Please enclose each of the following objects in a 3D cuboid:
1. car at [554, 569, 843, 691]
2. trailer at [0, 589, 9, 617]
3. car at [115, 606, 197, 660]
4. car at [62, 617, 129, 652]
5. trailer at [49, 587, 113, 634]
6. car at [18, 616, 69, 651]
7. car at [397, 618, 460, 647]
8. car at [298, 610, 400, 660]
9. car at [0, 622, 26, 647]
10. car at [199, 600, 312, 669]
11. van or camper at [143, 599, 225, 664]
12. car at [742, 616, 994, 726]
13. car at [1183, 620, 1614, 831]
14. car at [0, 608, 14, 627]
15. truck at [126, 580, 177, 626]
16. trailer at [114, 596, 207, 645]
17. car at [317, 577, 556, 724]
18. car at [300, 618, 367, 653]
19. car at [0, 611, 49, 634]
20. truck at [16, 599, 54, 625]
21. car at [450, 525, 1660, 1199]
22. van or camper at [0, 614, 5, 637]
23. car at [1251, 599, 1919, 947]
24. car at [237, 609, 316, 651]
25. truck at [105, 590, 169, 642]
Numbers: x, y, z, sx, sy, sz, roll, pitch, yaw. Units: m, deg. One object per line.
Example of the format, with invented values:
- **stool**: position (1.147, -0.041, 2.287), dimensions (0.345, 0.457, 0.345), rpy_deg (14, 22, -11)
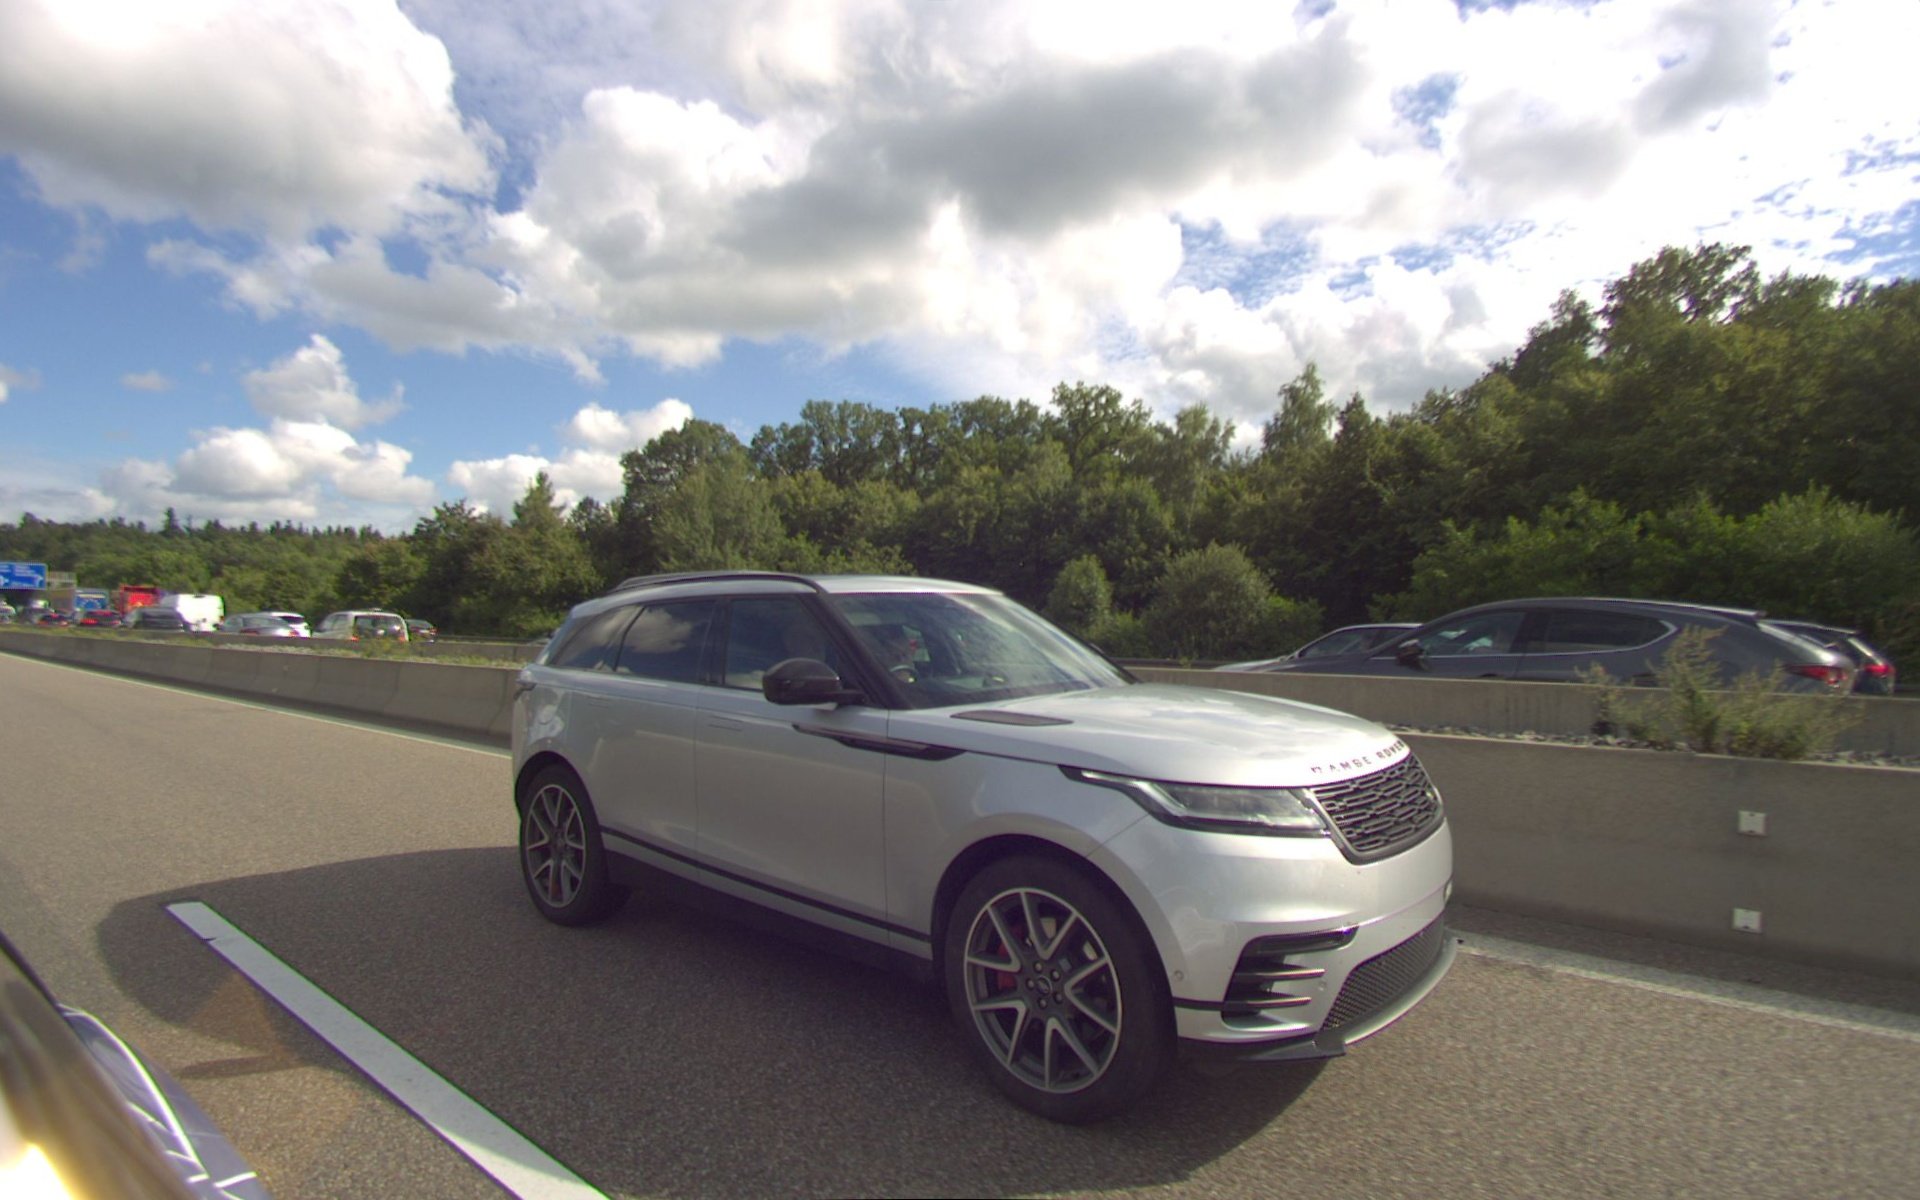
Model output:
- **car**: position (-4.127, 0.424, 15.456), dimensions (4.814, 1.584, 1.972), rpy_deg (-1, -1, 42)
- **trailer**: position (-144.449, 0.335, 150.504), dimensions (15.999, 4.004, 2.801), rpy_deg (1, 1, 41)
- **car**: position (-32.155, 1.288, 40.442), dimensions (4.518, 2.029, 1.862), rpy_deg (-1, -2, 42)
- **car**: position (-42.930, 1.699, 50.219), dimensions (4.286, 1.603, 1.817), rpy_deg (-1, -4, 40)
- **trailer**: position (-85.877, 0.914, 98.718), dimensions (13.651, 4.266, 2.743), rpy_deg (1, 1, 41)
- **car**: position (-53.217, 1.894, 58.757), dimensions (4.293, 1.829, 1.669), rpy_deg (1, 1, 40)
- **car**: position (-30.858, 1.872, 58.712), dimensions (4.001, 1.603, 1.817), rpy_deg (-1, -3, 40)
- **car**: position (-22.084, 1.208, 36.488), dimensions (4.524, 1.608, 1.972), rpy_deg (1, 1, 42)
- **car**: position (-67.245, 2.406, 71.263), dimensions (3.997, 1.615, 1.706), rpy_deg (-1, 0, 40)
- **car**: position (-22.637, 1.085, 32.450), dimensions (5.090, 2.029, 1.884), rpy_deg (-1, -2, 42)
- **van or camper**: position (-40.601, 1.578, 52.901), dimensions (6.240, 3.196, 2.116), rpy_deg (-1, 0, 40)
- **car**: position (-1.817, 1.202, 18.819), dimensions (4.761, 1.746, 1.972), rpy_deg (-1, -1, 42)
- **car**: position (5.207, 1.302, 12.392), dimensions (4.458, 2.029, 1.972), rpy_deg (0, 0, 42)
- **car**: position (-75.718, 1.370, 79.255), dimensions (5.485, 1.364, 1.831), rpy_deg (1, 1, 40)
- **truck**: position (-76.103, 0.337, 95.253), dimensions (5.449, 4.181, 2.783), rpy_deg (-1, -1, 40)
- **trailer**: position (-59.633, 1.511, 75.283), dimensions (14.209, 3.361, 2.700), rpy_deg (-1, -1, 40)
- **car**: position (-8.052, 0.712, 15.427), dimensions (3.999, 1.935, 1.972), rpy_deg (-2, -1, 42)
- **car**: position (-42.894, 2.417, 69.213), dimensions (5.284, 2.143, 2.346), rpy_deg (1, -3, 41)
- **car**: position (-60.032, 1.416, 64.772), dimensions (6.228, 1.359, 1.796), rpy_deg (-1, 0, 40)
- **truck**: position (-105.475, 1.353, 115.359), dimensions (7.945, 2.822, 2.304), rpy_deg (-1, 1, 41)
- **car**: position (-0.162, 0.677, 4.390), dimensions (5.103, 1.619, 1.880), rpy_deg (0, -1, 41)
- **van or camper**: position (-119.356, 3.122, 124.615), dimensions (5.749, 2.731, 2.024), rpy_deg (1, 1, 42)
- **car**: position (4.682, 0.958, 7.499), dimensions (4.458, 1.919, 1.972), rpy_deg (0, 0, 42)
- **car**: position (-29.477, 1.246, 43.618), dimensions (4.000, 1.608, 1.972), rpy_deg (1, 1, 42)
- **truck**: position (-64.899, 1.237, 79.762), dimensions (6.848, 3.968, 2.747), rpy_deg (-1, -1, 40)
